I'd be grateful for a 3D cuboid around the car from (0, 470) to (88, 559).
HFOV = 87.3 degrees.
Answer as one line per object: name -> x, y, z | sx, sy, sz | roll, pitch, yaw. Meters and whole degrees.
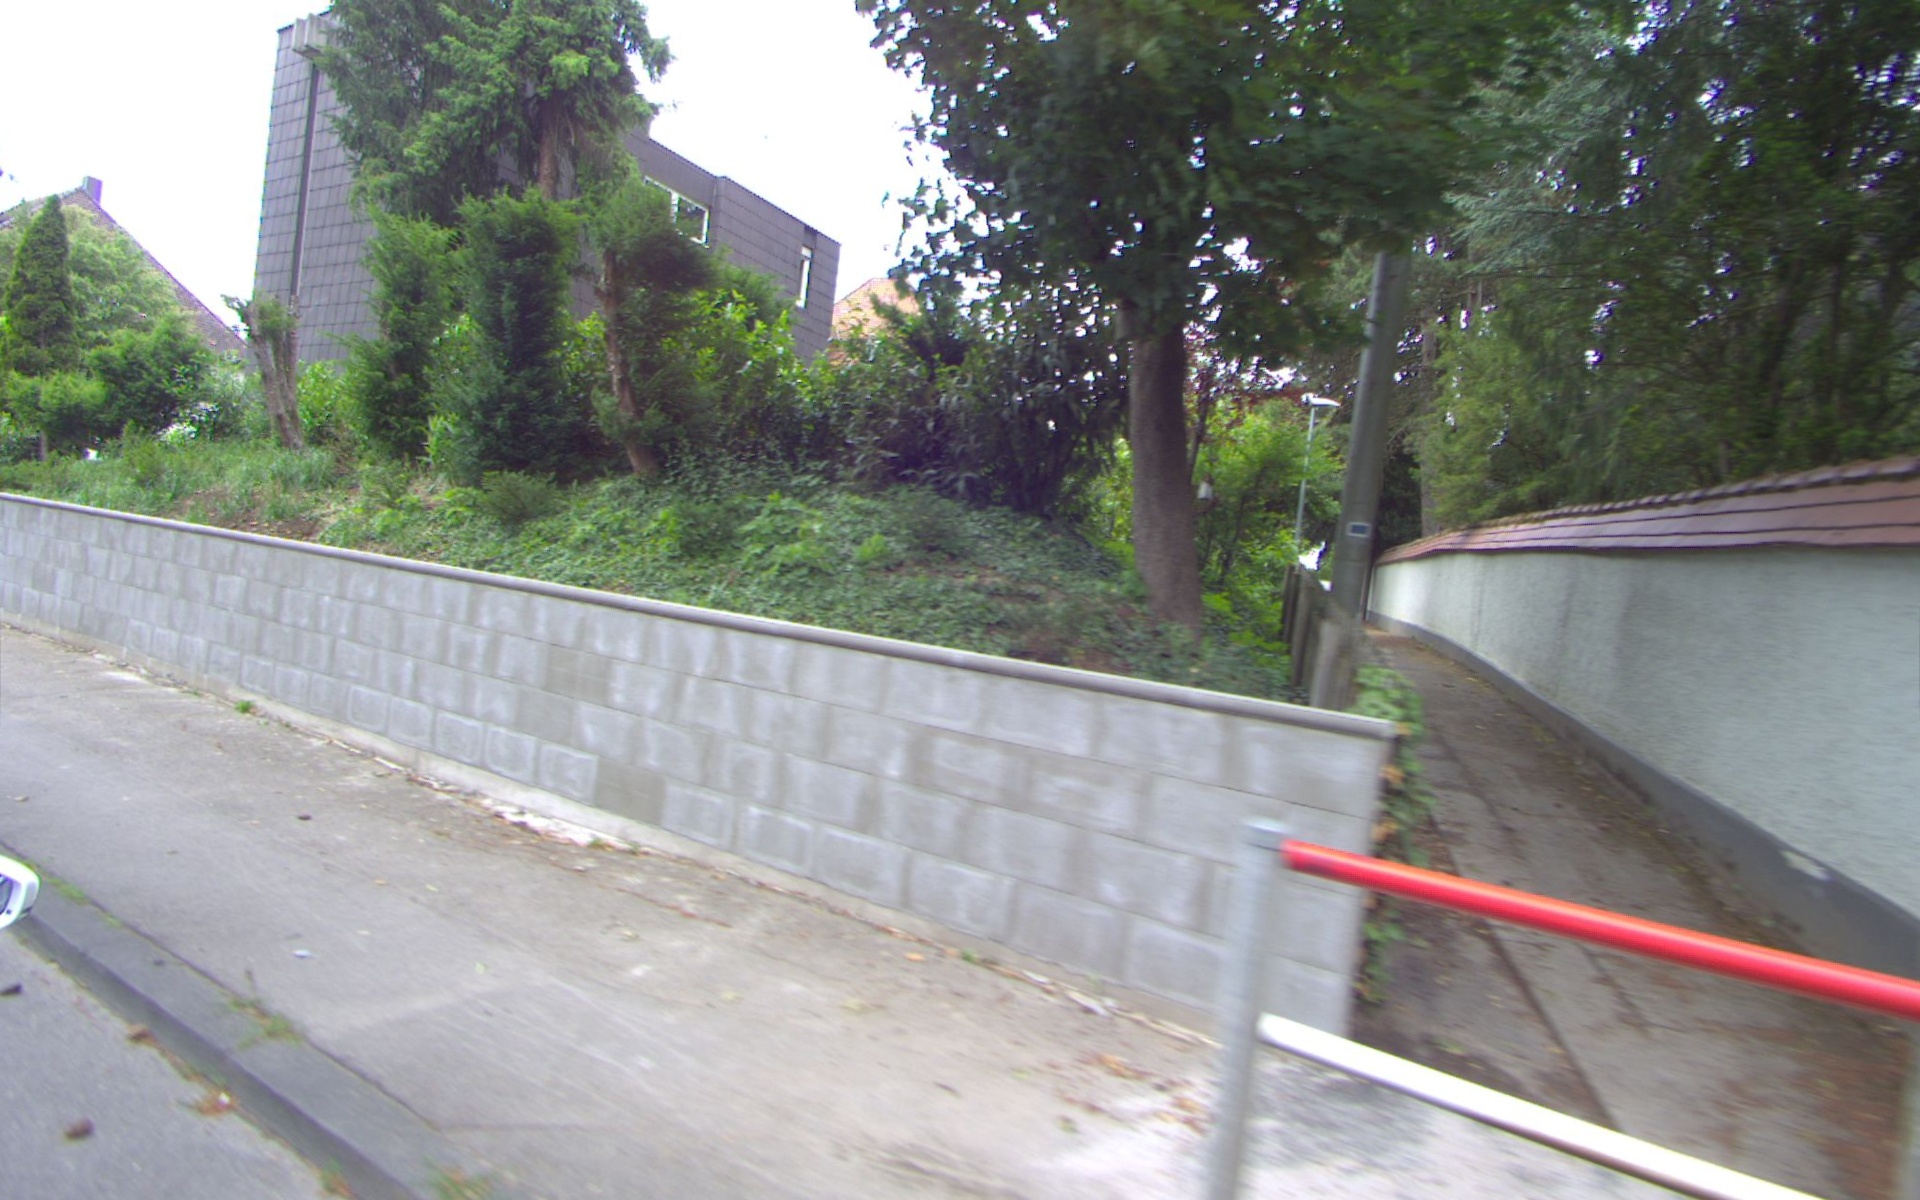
car -> -20.742, -1.941, 20.270 | 1.800, 1.673, 4.397 | 7, 0, 33
